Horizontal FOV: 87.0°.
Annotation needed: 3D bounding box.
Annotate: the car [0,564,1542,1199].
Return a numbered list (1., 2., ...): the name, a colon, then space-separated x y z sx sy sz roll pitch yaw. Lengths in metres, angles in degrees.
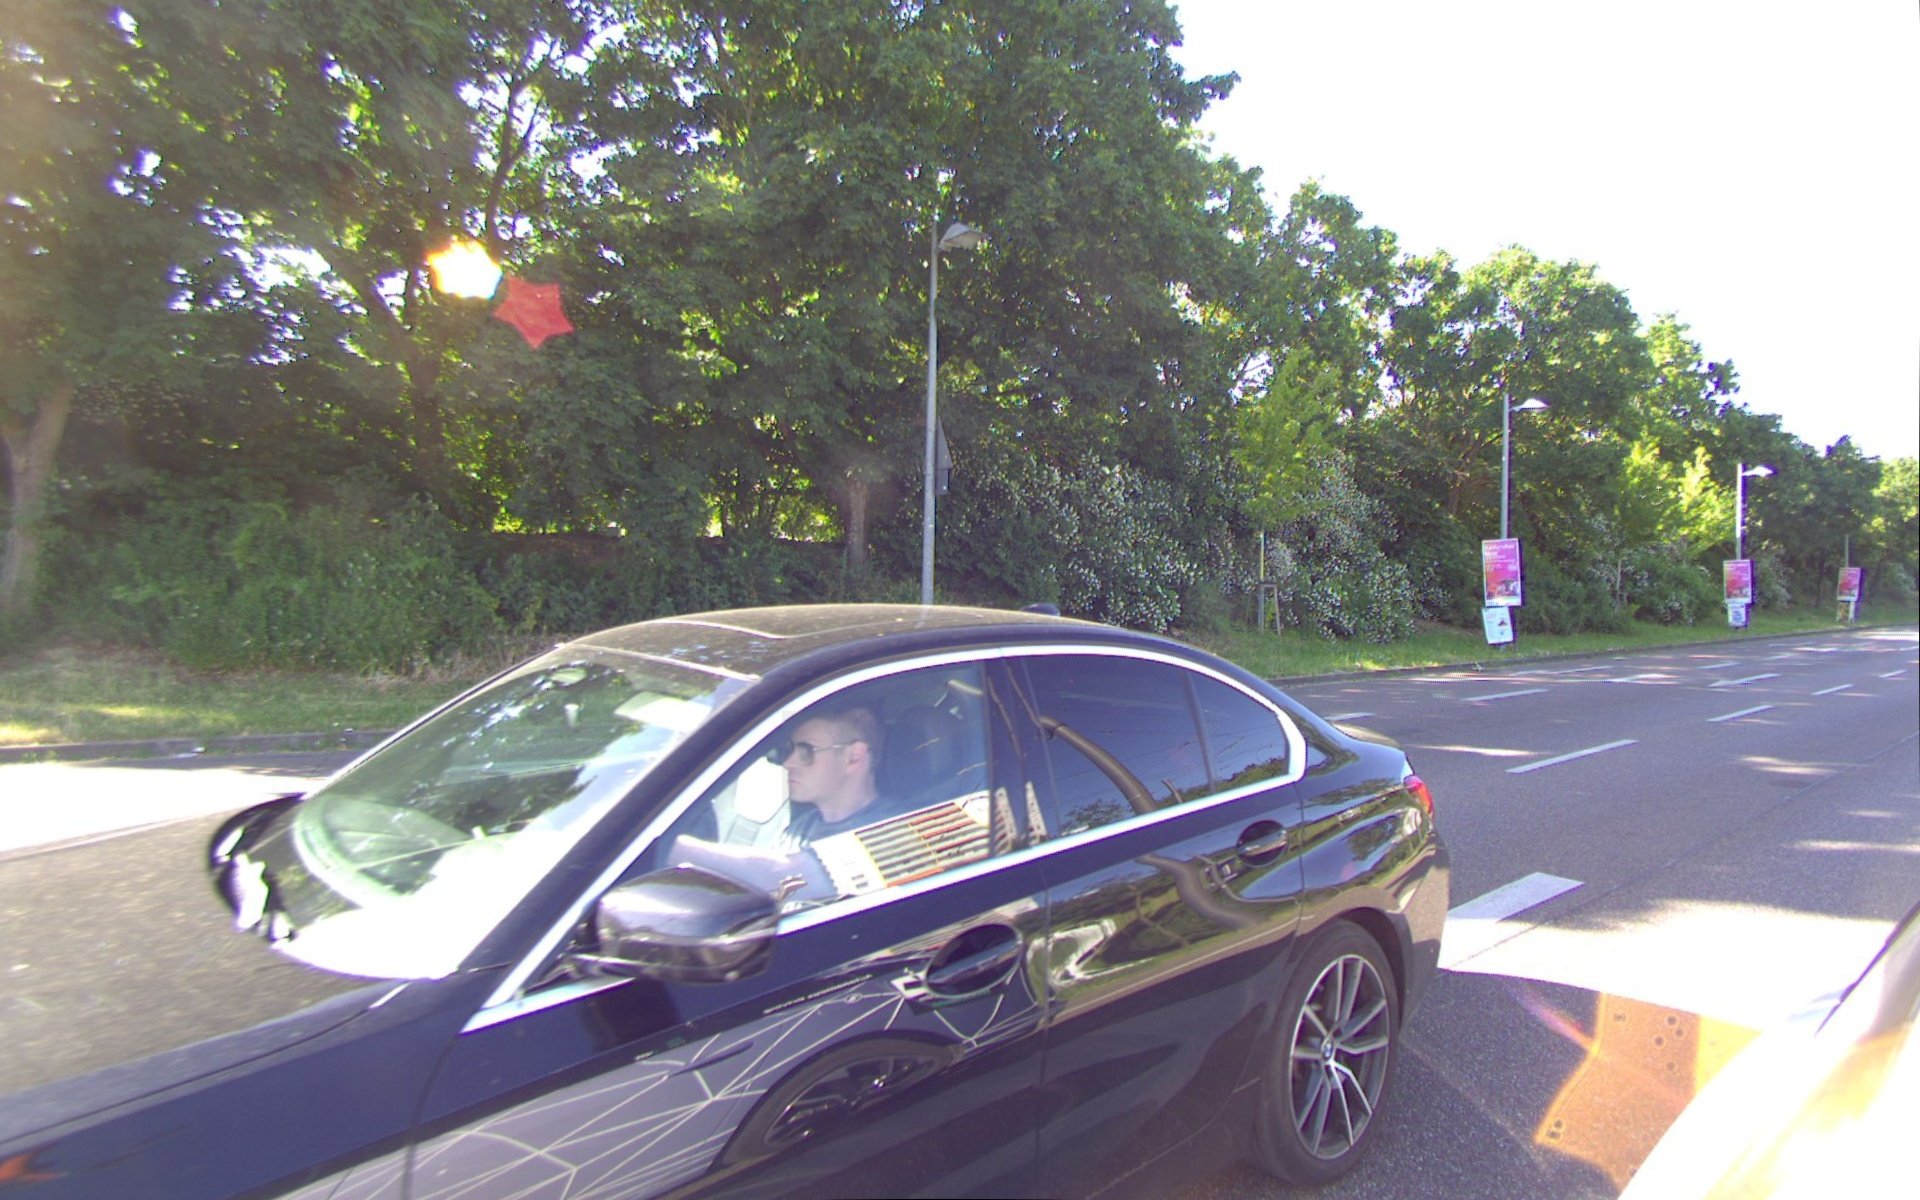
1. car: -0.488 0.650 2.443 4.364 1.415 1.874 0 1 -40
